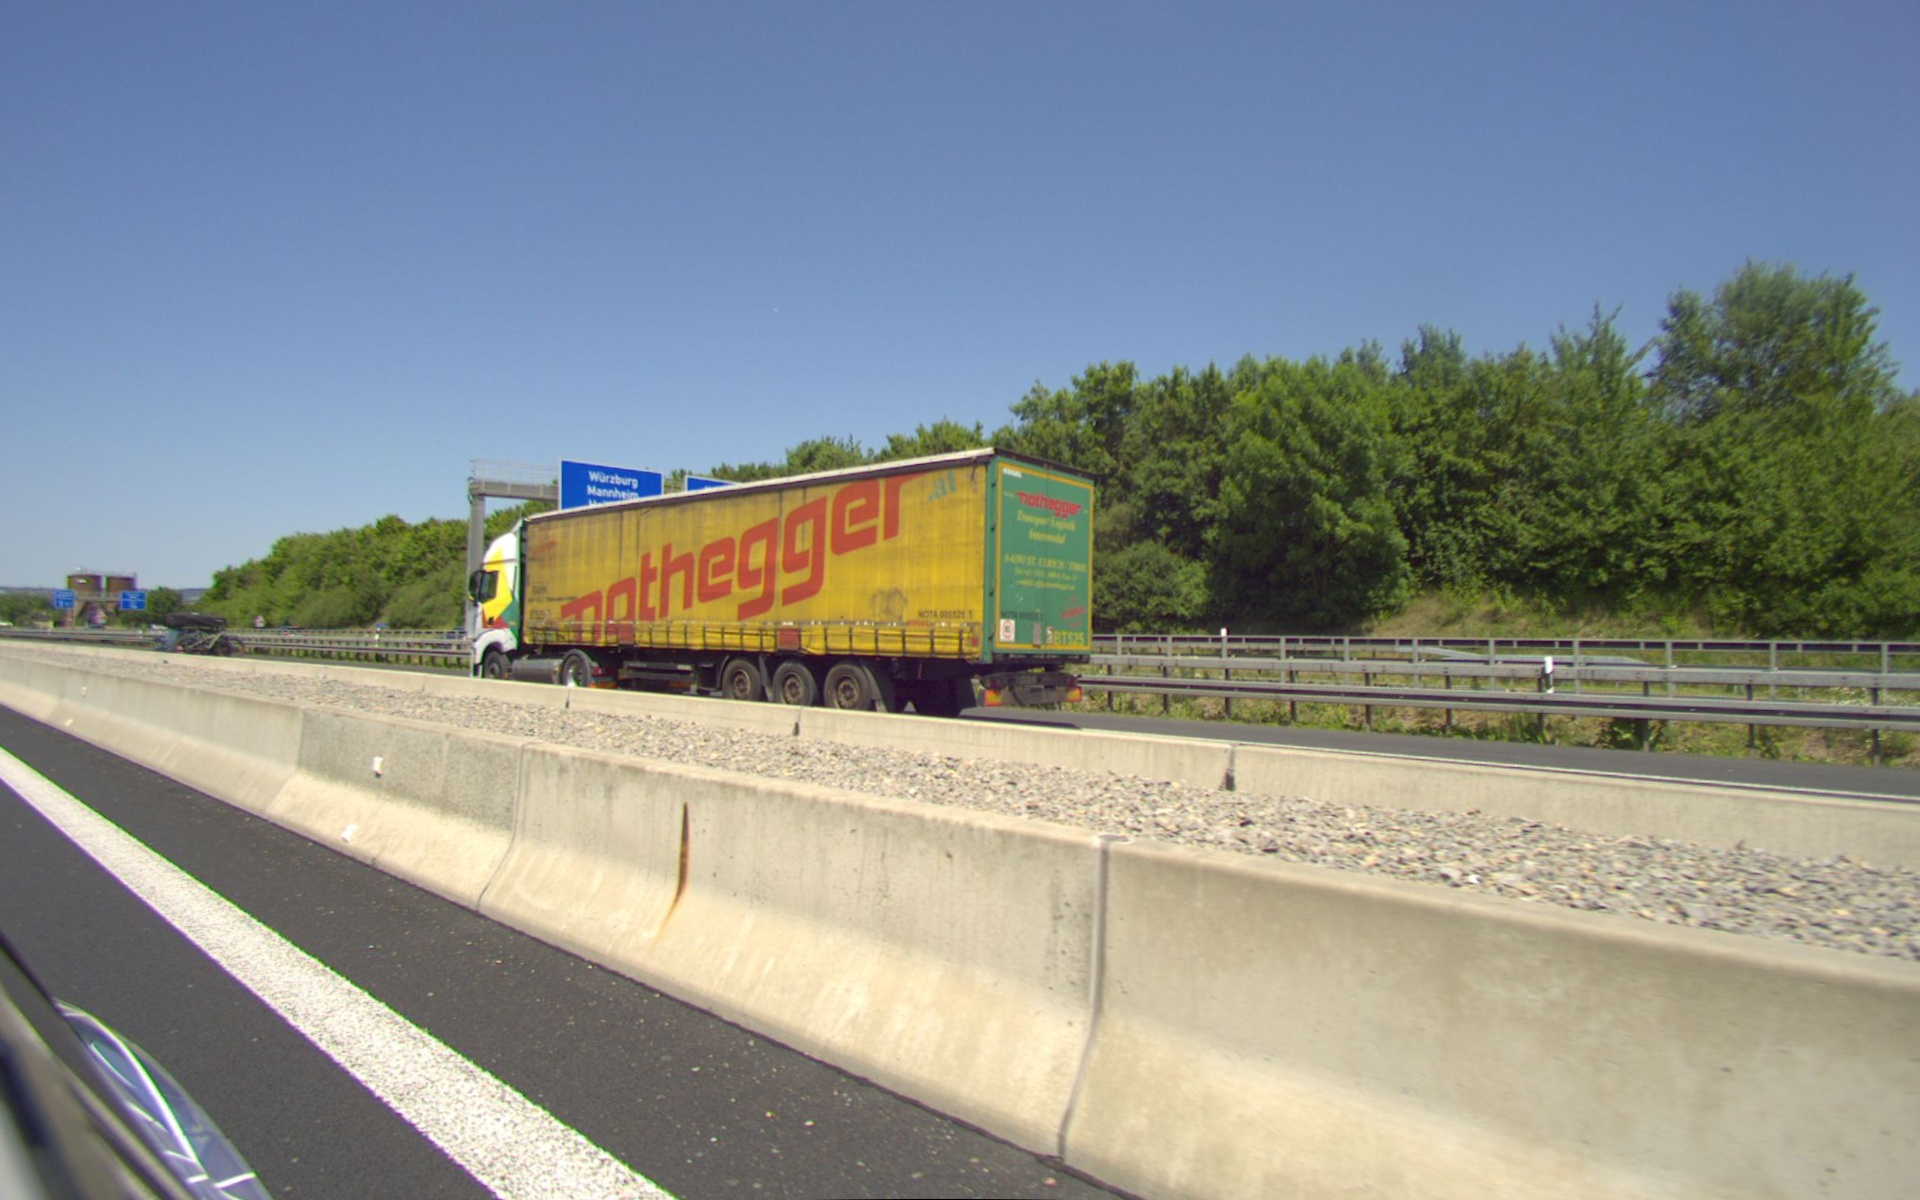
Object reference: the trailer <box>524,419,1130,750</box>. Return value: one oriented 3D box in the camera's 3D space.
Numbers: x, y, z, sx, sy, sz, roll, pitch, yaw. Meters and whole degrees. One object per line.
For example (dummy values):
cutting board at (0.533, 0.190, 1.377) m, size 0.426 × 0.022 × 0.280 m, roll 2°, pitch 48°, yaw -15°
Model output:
trailer at (-3.531, -0.130, 18.727) m, size 13.808 × 4.305 × 2.639 m, roll -1°, pitch 0°, yaw 41°

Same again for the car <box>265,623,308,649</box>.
car at (-57.025, 3.017, 85.647) m, size 3.997 × 2.029 × 1.973 m, roll -1°, pitch 0°, yaw 40°

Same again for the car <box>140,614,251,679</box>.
car at (-25.851, 1.517, 34.149) m, size 5.344 × 2.029 × 1.898 m, roll -1°, pitch -2°, yaw 41°

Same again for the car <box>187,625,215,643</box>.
car at (-88.090, 3.900, 117.475) m, size 4.021 × 2.029 × 1.925 m, roll -1°, pitch 0°, yaw 43°

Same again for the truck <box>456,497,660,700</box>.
truck at (-9.602, -0.024, 24.057) m, size 4.550 × 4.320 × 2.678 m, roll -1°, pitch 0°, yaw 40°

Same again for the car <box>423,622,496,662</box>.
car at (-26.797, 2.204, 54.114) m, size 3.994 × 2.029 × 1.975 m, roll -1°, pitch 0°, yaw 38°
